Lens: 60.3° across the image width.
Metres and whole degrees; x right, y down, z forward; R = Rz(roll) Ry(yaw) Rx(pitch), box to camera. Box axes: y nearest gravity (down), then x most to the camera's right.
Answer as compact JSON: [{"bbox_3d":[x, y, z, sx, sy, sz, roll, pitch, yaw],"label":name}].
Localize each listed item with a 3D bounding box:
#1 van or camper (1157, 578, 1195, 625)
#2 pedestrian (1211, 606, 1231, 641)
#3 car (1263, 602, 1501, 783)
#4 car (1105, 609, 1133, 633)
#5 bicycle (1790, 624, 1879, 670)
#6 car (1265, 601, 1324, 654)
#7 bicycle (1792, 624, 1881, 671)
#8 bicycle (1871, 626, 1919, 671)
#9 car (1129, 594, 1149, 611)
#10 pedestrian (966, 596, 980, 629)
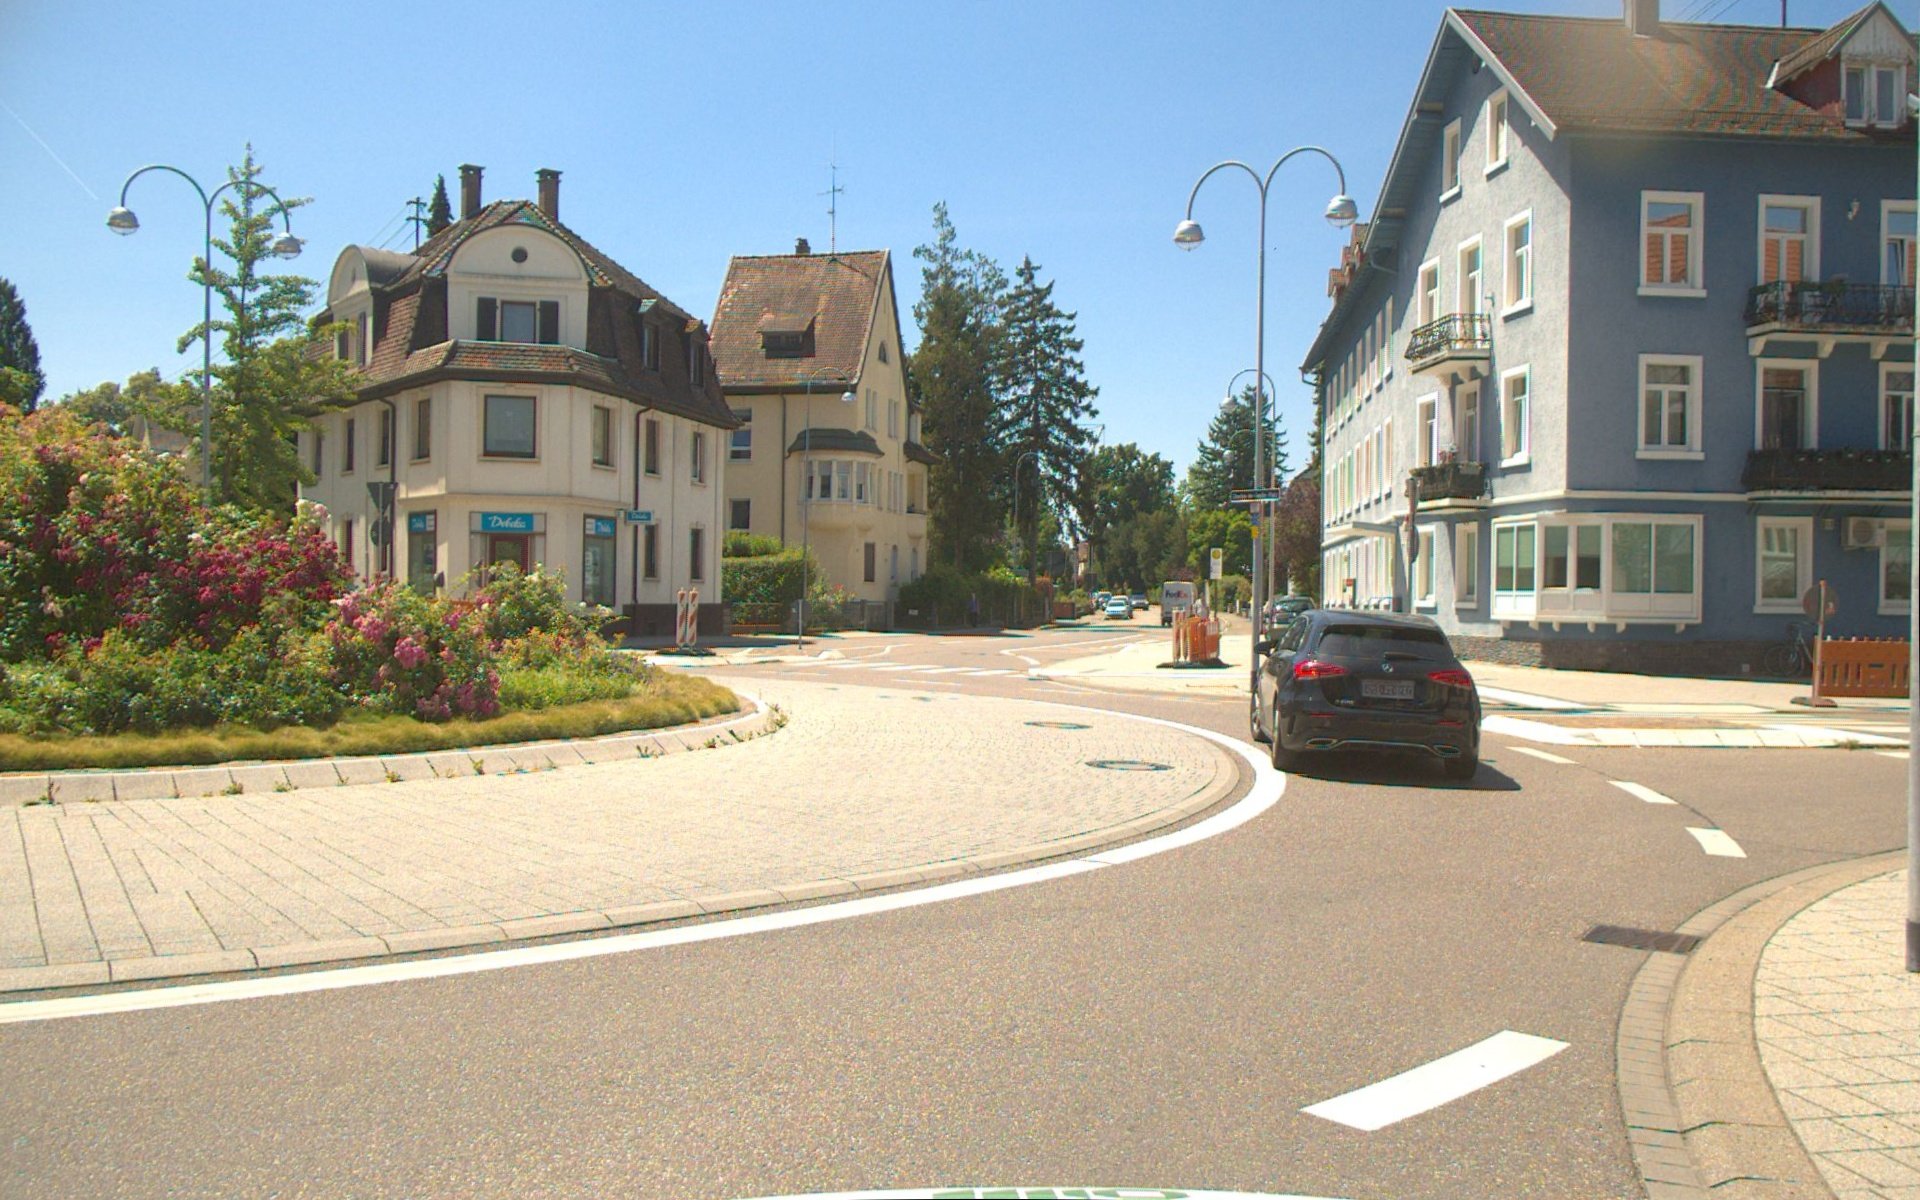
[{"bbox_3d":[12.829,0.103,98.419,2.159,2.656,4.003,1,0,7],"label":"van or camper"},{"bbox_3d":[9.897,0.889,62.718,0.652,1.308,0.587,-2,-1,16],"label":"pedestrian"},{"bbox_3d":[3.954,0.778,15.781,1.911,1.452,4.003,1,0,13],"label":"car"},{"bbox_3d":[12.127,1.597,126.291,1.951,1.680,4.003,1,0,8],"label":"car"},{"bbox_3d":[18.734,1.014,35.438,1.673,0.922,0.440,1,1,-5],"label":"bicycle"},{"bbox_3d":[10.447,0.844,51.812,1.605,1.534,3.567,-2,0,9],"label":"car"},{"bbox_3d":[18.516,1.005,34.943,1.673,0.922,0.440,1,1,-5],"label":"bicycle"},{"bbox_3d":[20.469,1.047,35.407,1.673,0.922,0.481,1,1,-5],"label":"bicycle"},{"bbox_3d":[18.941,0.291,175.189,1.951,1.747,4.003,1,0,8],"label":"car"},{"bbox_3d":[0.600,0.570,77.444,0.512,1.535,0.473,1,-1,15],"label":"pedestrian"}]
